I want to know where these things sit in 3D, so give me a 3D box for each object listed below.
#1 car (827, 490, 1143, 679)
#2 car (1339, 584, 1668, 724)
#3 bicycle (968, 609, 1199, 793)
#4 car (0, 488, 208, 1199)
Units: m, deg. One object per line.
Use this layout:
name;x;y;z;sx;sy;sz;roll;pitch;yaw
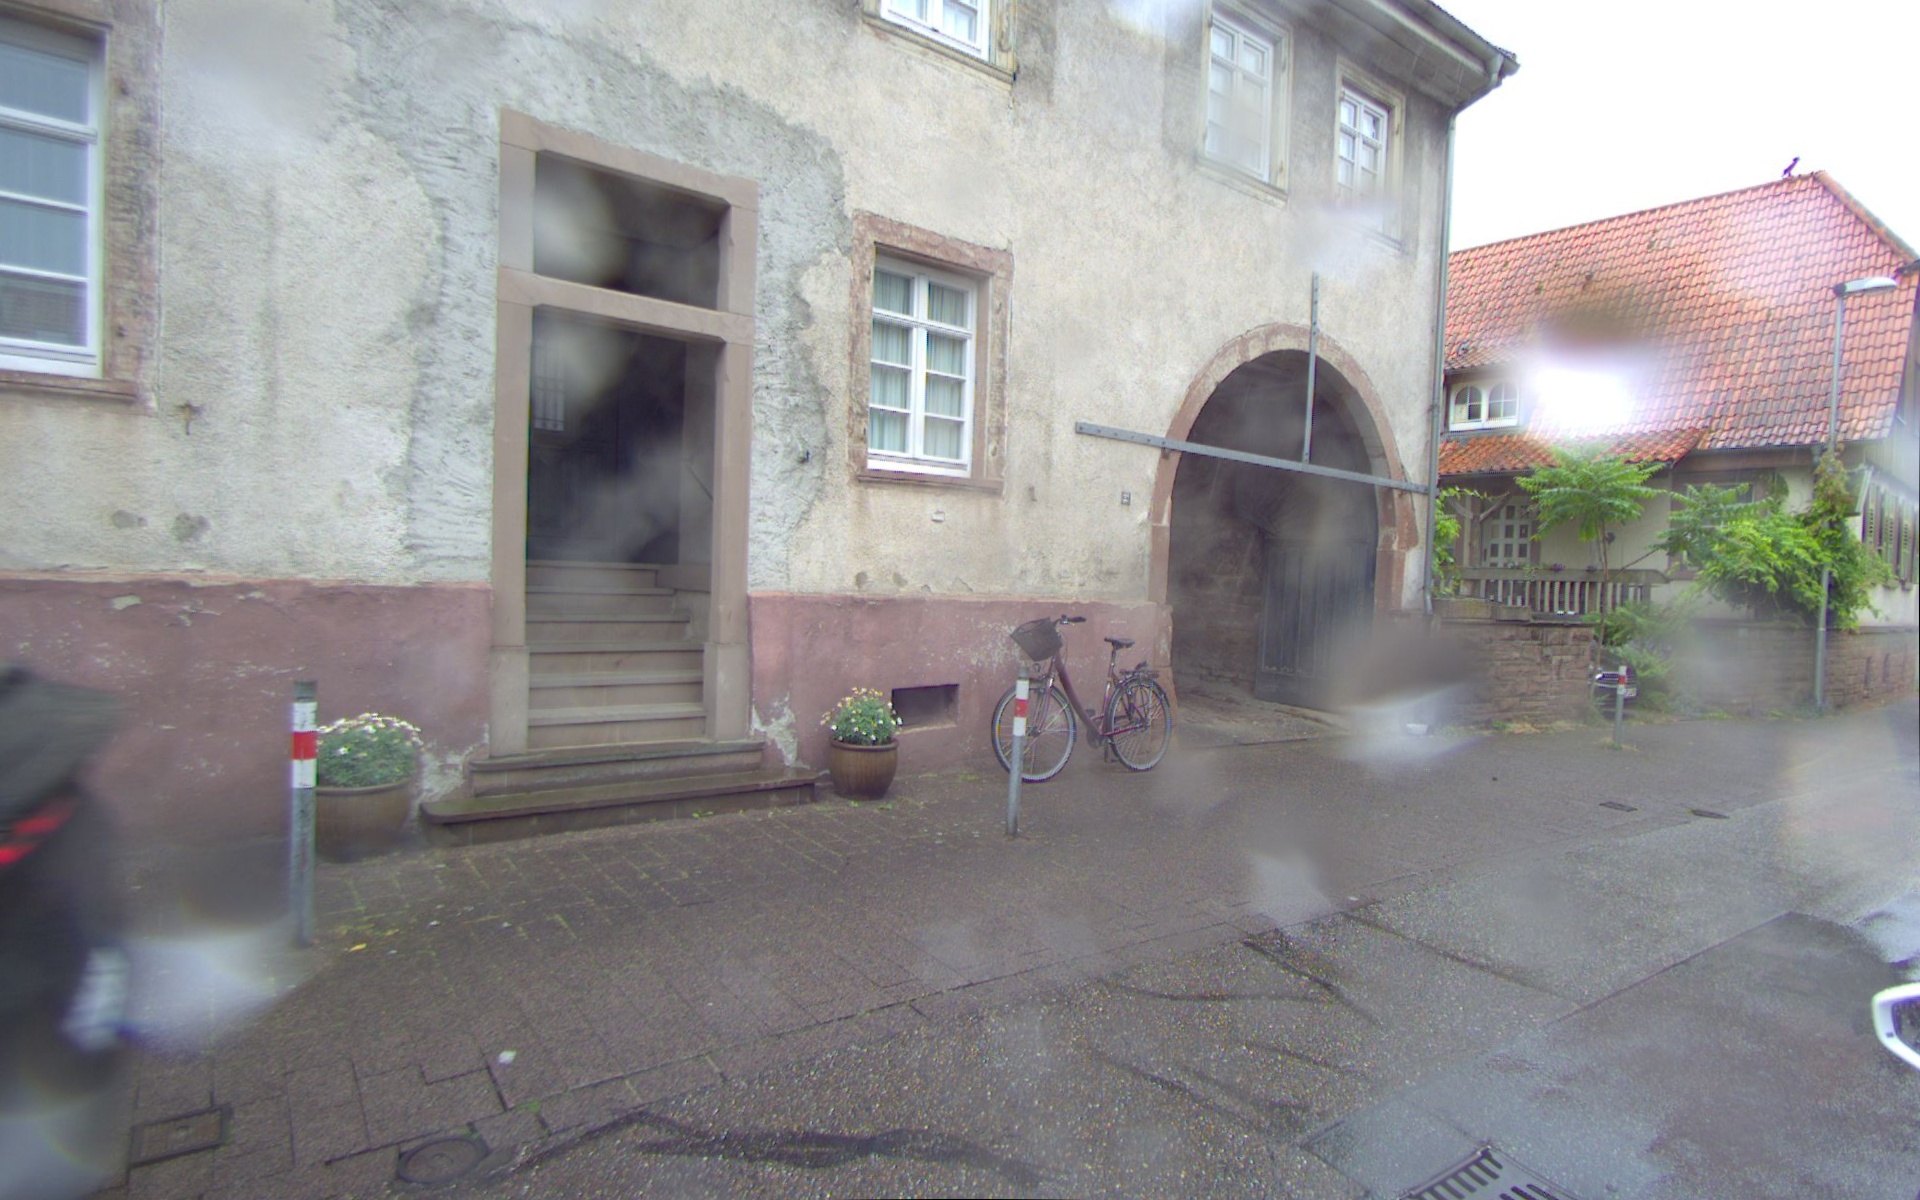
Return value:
car;0.156;-0.303;13.525;1.869;1.957;4.194;6;3;-37
car;7.985;0.704;15.161;1.715;1.444;3.967;2;5;-30
bicycle;0.956;0.689;7.451;1.858;1.194;0.478;1;4;-38
car;-2.907;0.546;0.703;3.758;1.531;1.610;2;4;-37
